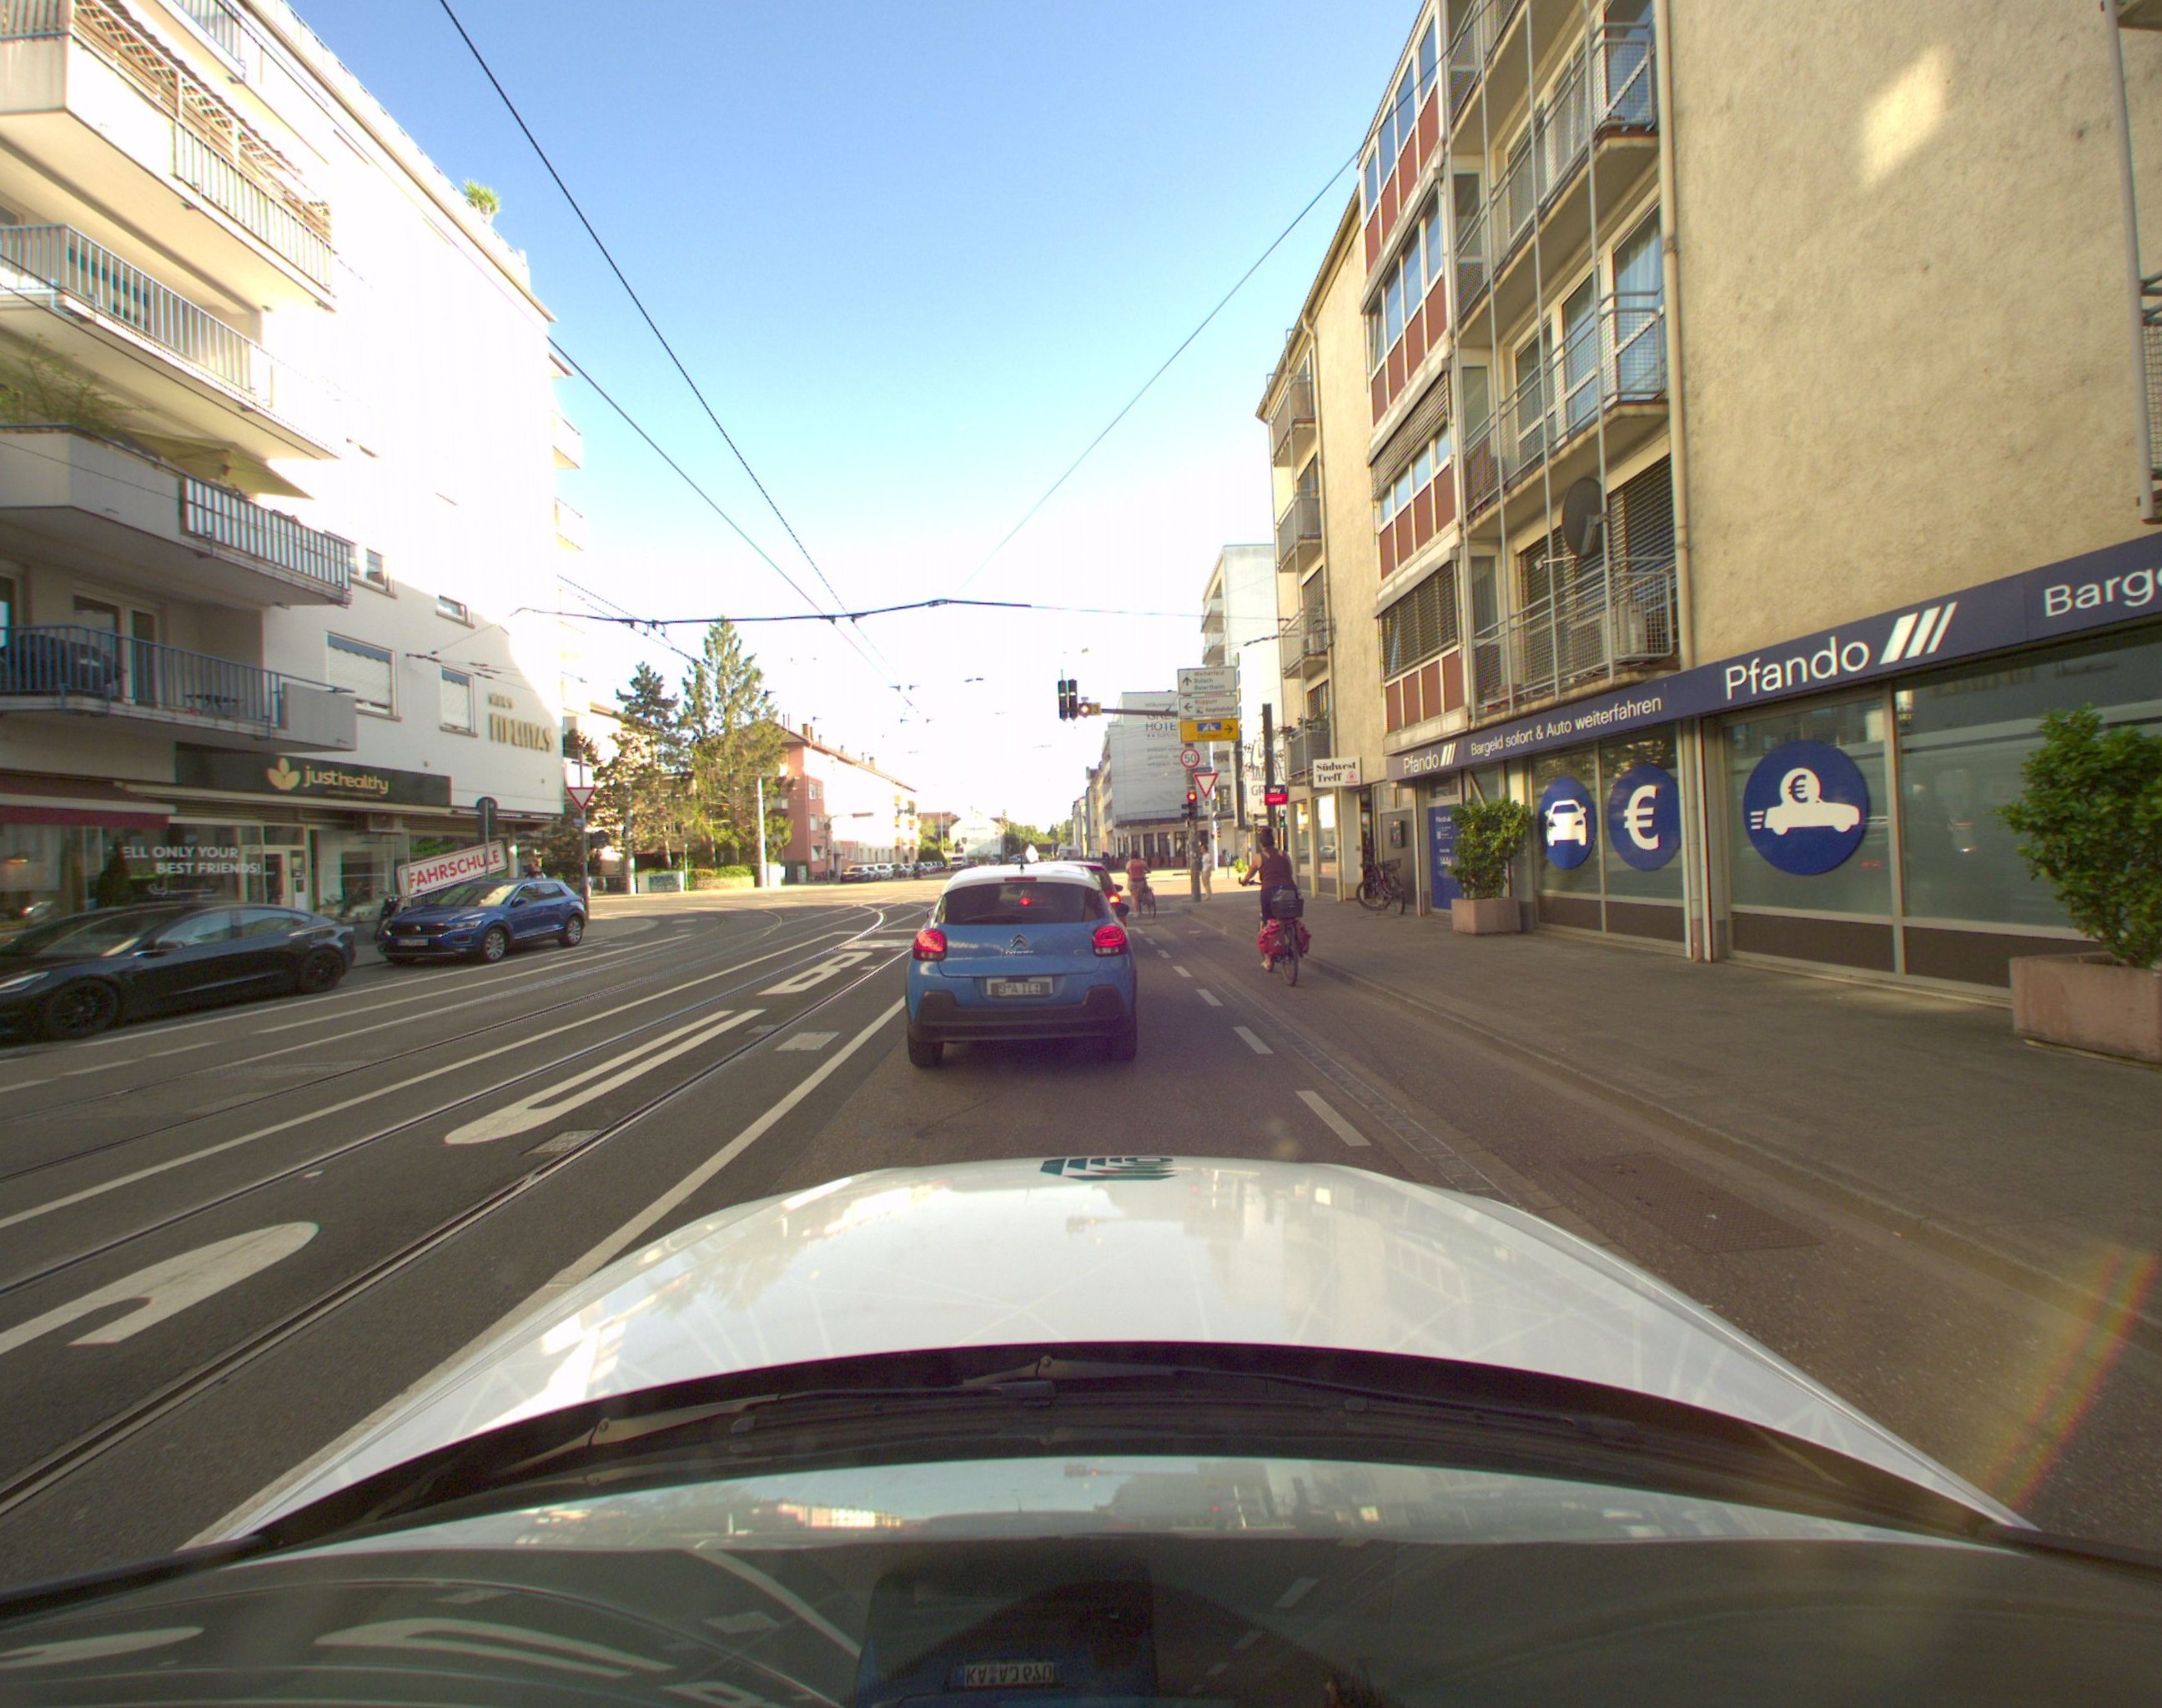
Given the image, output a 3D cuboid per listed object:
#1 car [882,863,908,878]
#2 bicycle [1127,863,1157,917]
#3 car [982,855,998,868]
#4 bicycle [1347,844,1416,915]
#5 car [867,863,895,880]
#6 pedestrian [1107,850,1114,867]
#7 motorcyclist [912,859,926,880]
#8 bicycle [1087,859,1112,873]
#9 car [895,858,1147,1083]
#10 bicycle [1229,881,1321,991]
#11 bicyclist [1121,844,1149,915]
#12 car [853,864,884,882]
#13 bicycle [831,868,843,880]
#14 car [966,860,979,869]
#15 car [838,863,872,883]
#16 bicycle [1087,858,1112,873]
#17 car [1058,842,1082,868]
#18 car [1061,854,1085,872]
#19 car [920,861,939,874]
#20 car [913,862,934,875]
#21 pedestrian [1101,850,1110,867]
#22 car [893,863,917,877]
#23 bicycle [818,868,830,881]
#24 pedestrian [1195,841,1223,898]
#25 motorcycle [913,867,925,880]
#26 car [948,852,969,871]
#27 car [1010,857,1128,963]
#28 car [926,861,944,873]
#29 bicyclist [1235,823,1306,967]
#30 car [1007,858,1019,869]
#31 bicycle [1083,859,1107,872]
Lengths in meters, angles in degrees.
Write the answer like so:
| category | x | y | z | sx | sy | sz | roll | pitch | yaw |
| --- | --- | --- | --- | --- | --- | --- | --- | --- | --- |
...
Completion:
| category | x | y | z | sx | sy | sz | roll | pitch | yaw |
| --- | --- | --- | --- | --- | --- | --- | --- | --- | --- |
| car | -19.725 | 1.743 | 86.527 | 1.947 | 1.519 | 3.995 | -2 | 0 | -4 |
| bicycle | 1.536 | 0.888 | 20.725 | 0.611 | 1.264 | 1.911 | -2 | 0 | 2 |
| car | -12.552 | 0.997 | 112.185 | 2.002 | 1.627 | 5.044 | -2 | 0 | -5 |
| bicycle | 5.762 | 0.459 | 15.738 | 0.637 | 1.264 | 1.911 | -2 | 0 | 2 |
| car | -19.555 | 1.687 | 79.854 | 1.947 | 1.519 | 3.995 | -2 | 0 | -4 |
| pedestrian | 2.528 | 0.386 | 70.116 | 0.467 | 1.420 | 0.524 | -2 | 0 | -11 |
| motorcyclist | -13.470 | 1.272 | 67.692 | 0.990 | 1.631 | 0.737 | -2 | 0 | -7 |
| bicycle | 1.530 | 0.966 | 67.240 | 1.901 | 1.064 | 0.641 | -2 | 0 | -6 |
| car | -0.449 | 0.790 | 7.498 | 1.675 | 1.462 | 3.997 | -1 | 0 | -2 |
| bicycle | 2.276 | 0.921 | 9.784 | 0.615 | 1.103 | 1.886 | -2 | 0 | 0 |
| bicyclist | 1.372 | 0.634 | 20.692 | 0.598 | 1.746 | 1.084 | -2 | 0 | 2 |
| car | -19.566 | 1.720 | 75.242 | 1.947 | 1.519 | 4.040 | -2 | 0 | -4 |
| bicycle | -22.712 | 1.862 | 75.801 | 0.608 | 1.082 | 1.908 | -2 | 0 | -4 |
| car | -19.331 | 1.825 | 145.243 | 1.947 | 1.519 | 3.995 | -2 | 0 | -4 |
| car | -19.286 | 1.602 | 69.618 | 1.947 | 1.519 | 3.995 | -2 | 0 | -4 |
| bicycle | 1.521 | 0.936 | 65.934 | 1.901 | 1.064 | 0.641 | -2 | 0 | -6 |
| car | -1.034 | 0.092 | 73.446 | 2.074 | 2.269 | 5.647 | -1 | 0 | -2 |
| car | -0.711 | 0.747 | 67.984 | 1.783 | 1.359 | 3.909 | -2 | 0 | -4 |
| car | -20.293 | 1.778 | 109.326 | 1.947 | 1.519 | 3.995 | -2 | 0 | -4 |
| car | -20.092 | 1.805 | 104.037 | 1.947 | 1.519 | 3.995 | -2 | 0 | -4 |
| pedestrian | 2.108 | 0.402 | 70.378 | 0.520 | 1.420 | 0.550 | -3 | 0 | 22 |
| car | -19.976 | 1.794 | 92.595 | 1.947 | 1.519 | 3.995 | -2 | 0 | -4 |
| bicycle | -23.045 | 1.844 | 73.105 | 0.536 | 1.082 | 1.908 | -2 | 0 | -4 |
| pedestrian | 3.843 | 0.456 | 24.413 | 0.747 | 1.635 | 0.742 | -2 | 0 | 7 |
| motorcycle | -13.480 | 1.600 | 67.759 | 0.751 | 0.976 | 2.092 | -2 | 0 | -7 |
| car | -18.121 | 1.110 | 120.574 | 2.489 | 2.712 | 5.828 | -2 | 0 | -5 |
| car | -0.223 | 0.811 | 13.706 | 1.675 | 1.462 | 3.997 | -1 | 0 | -2 |
| car | -20.720 | 1.858 | 115.682 | 1.947 | 1.519 | 3.995 | -2 | 0 | -4 |
| bicyclist | 2.255 | 0.471 | 9.769 | 0.615 | 1.630 | 0.760 | -2 | 0 | 0 |
| car | -14.259 | 1.992 | 171.409 | 2.333 | 2.039 | 5.044 | -2 | 0 | -4 |
| bicycle | 1.164 | 0.959 | 68.442 | 1.901 | 1.064 | 0.641 | -2 | 0 | -6 |
